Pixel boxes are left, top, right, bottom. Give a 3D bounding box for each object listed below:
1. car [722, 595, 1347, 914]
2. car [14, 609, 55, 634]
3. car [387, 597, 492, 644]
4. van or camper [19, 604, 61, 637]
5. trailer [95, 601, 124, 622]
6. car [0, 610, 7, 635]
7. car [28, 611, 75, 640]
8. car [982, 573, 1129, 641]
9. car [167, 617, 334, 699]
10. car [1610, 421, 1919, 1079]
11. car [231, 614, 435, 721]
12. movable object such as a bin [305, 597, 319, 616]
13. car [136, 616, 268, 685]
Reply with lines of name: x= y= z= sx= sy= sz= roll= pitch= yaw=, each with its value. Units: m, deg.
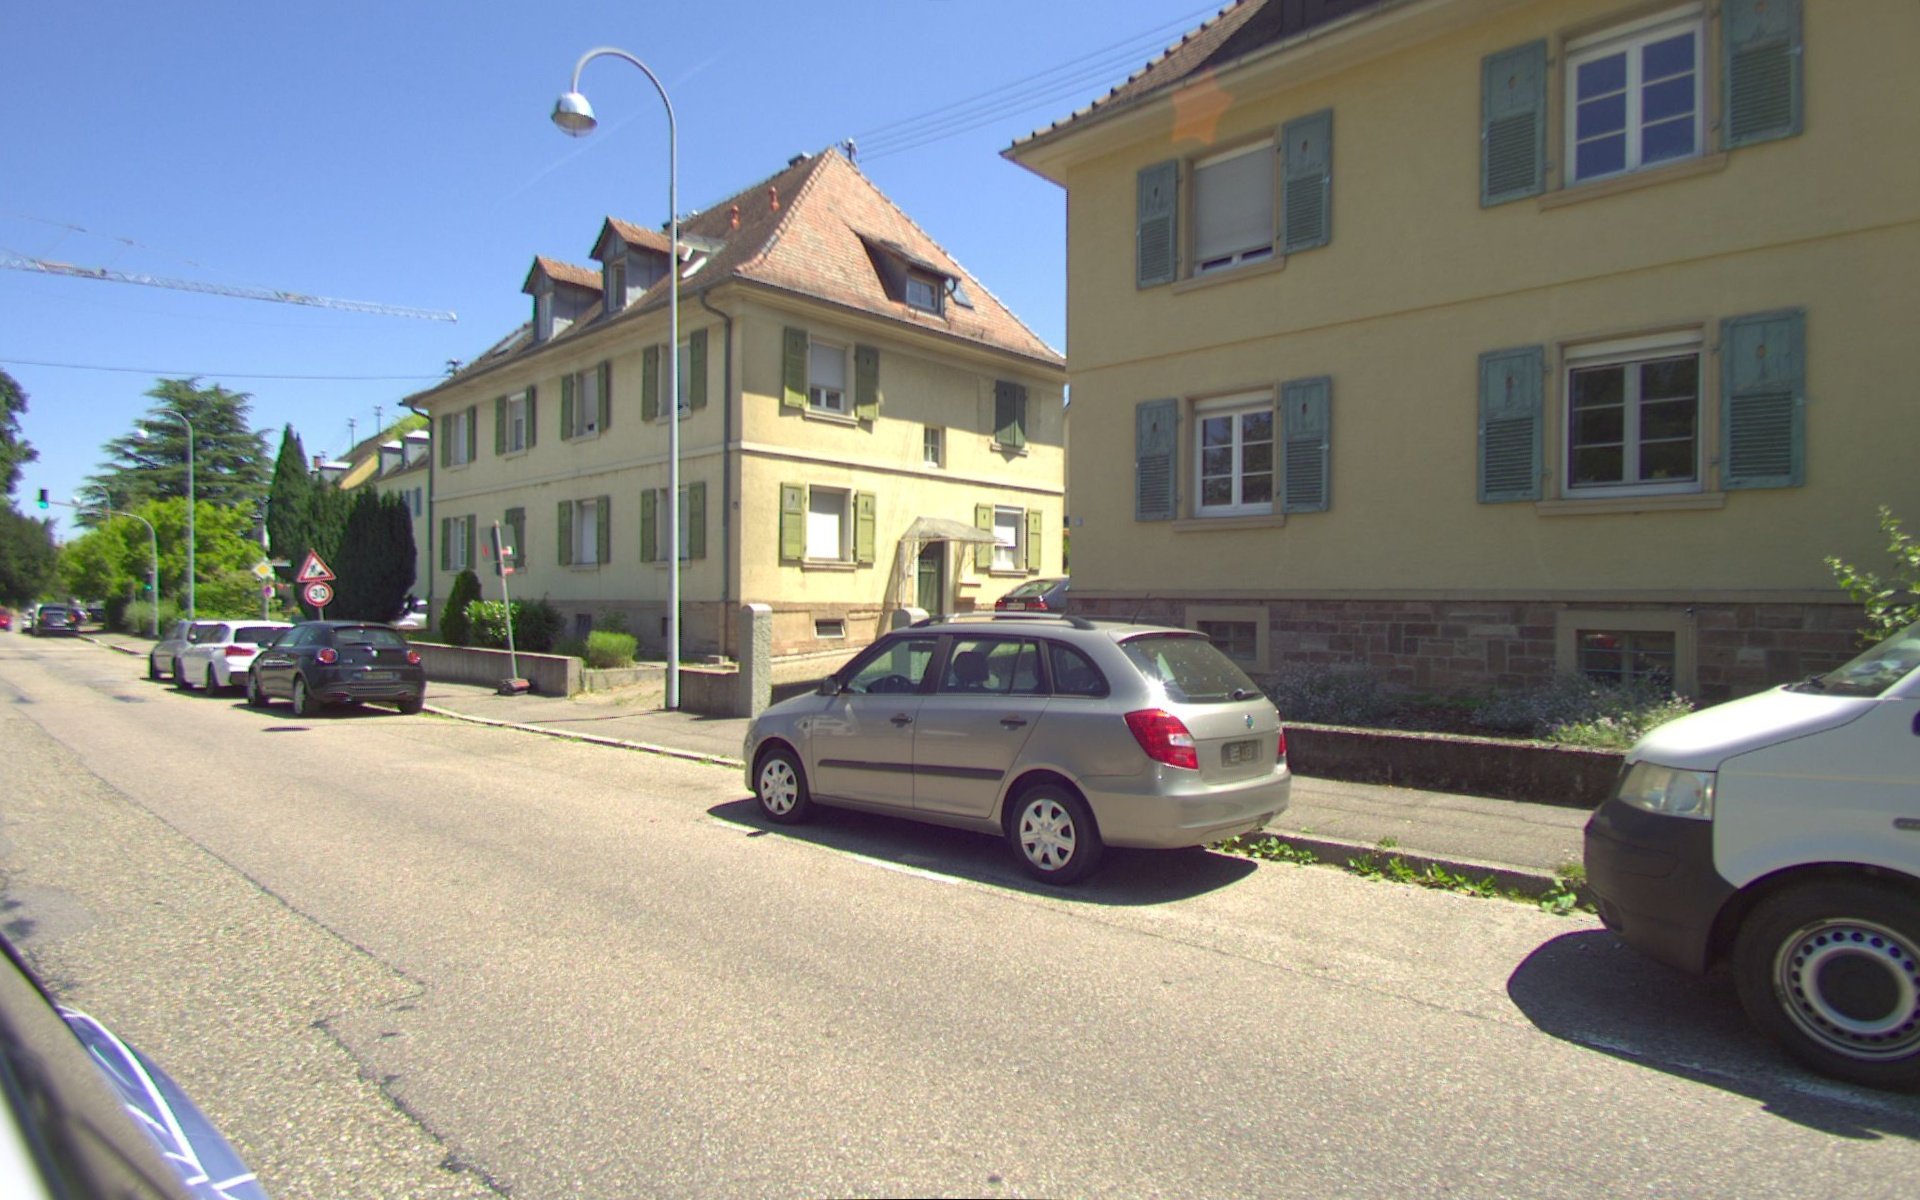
car: x=0.294 y=0.799 z=6.876 sx=4.061 sy=1.537 sz=1.669 roll=-1 pitch=-3 yaw=42
car: x=-56.371 y=1.312 z=61.661 sx=1.660 sy=1.452 sz=4.253 roll=2 pitch=-2 yaw=-41
car: x=-19.807 y=0.730 z=38.540 sx=3.163 sy=1.467 sz=1.738 roll=-6 pitch=4 yaw=-40
van or camper: x=-52.339 y=1.150 z=57.546 sx=1.661 sy=1.818 sz=3.990 roll=2 pitch=-2 yaw=-43
trailer: x=-85.756 y=1.165 z=102.069 sx=1.790 sy=2.049 sz=4.010 roll=3 pitch=-2 yaw=-36
car: x=-61.288 y=1.387 z=63.599 sx=3.697 sy=1.578 sz=1.794 roll=0 pitch=-1 yaw=43
car: x=-48.768 y=1.353 z=54.305 sx=1.661 sy=1.423 sz=3.929 roll=3 pitch=-2 yaw=-44
car: x=2.317 y=0.124 z=23.900 sx=1.664 sy=1.475 sz=3.658 roll=-1 pitch=0 yaw=40
car: x=-14.067 y=1.077 z=19.985 sx=4.218 sy=1.413 sz=1.775 roll=0 pitch=-2 yaw=42
car: x=4.634 y=0.464 z=2.713 sx=4.625 sy=1.978 sz=1.857 roll=-1 pitch=-3 yaw=43
car: x=-10.312 y=1.018 z=16.531 sx=4.075 sy=1.496 sz=1.697 roll=0 pitch=-2 yaw=41
movable object such as a bin: x=-40.985 y=0.409 z=63.995 sx=0.613 sy=1.205 sz=0.674 roll=0 pitch=0 yaw=-43
car: x=-17.820 y=1.128 z=23.738 sx=3.923 sy=1.458 sz=1.740 roll=0 pitch=-2 yaw=42
